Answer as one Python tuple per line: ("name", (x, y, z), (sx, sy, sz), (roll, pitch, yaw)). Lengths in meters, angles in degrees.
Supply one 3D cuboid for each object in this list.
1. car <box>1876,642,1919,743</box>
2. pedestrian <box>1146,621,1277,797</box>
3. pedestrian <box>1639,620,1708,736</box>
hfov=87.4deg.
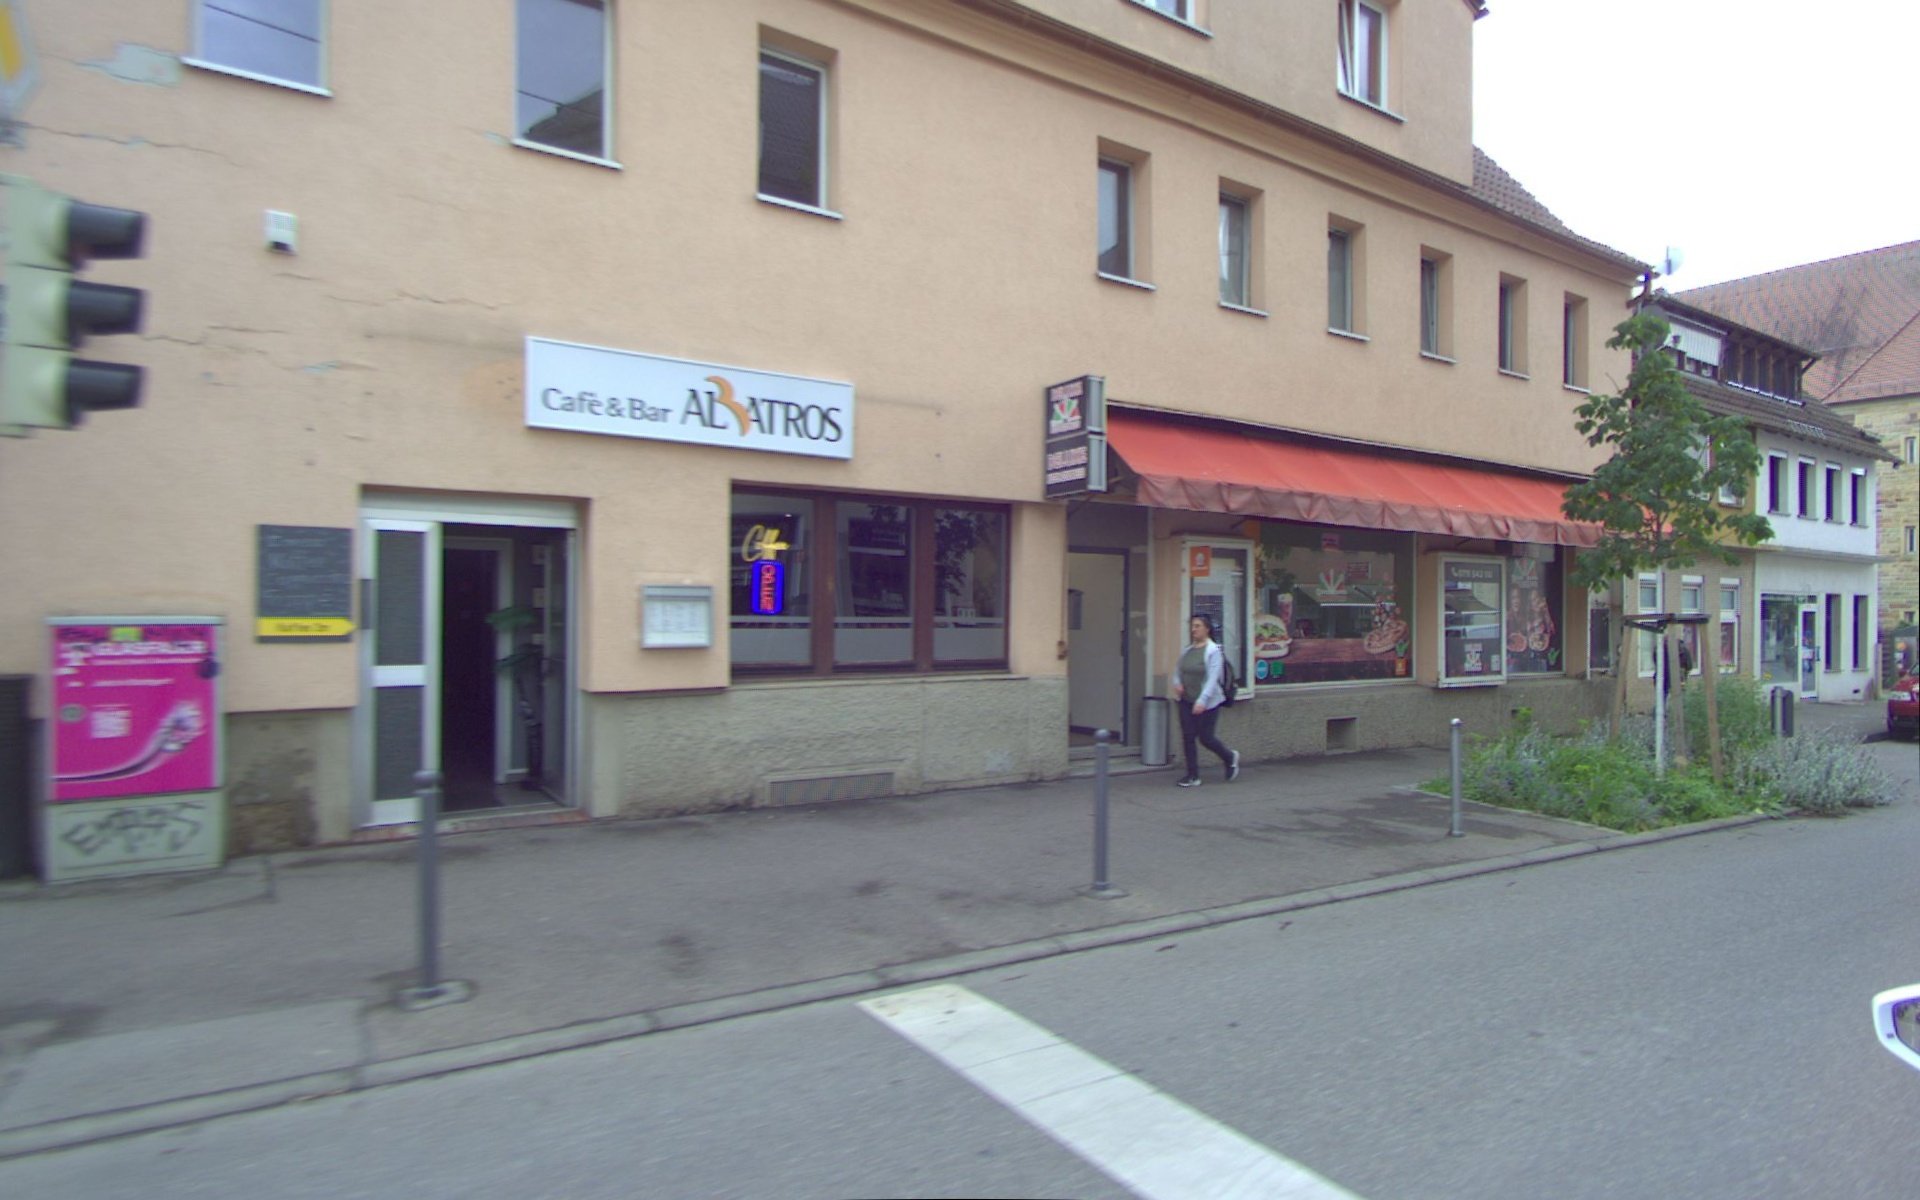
("car", (17.490, 1.509, 17.075), (4.401, 1.594, 1.694), (1, -3, -32))
("pedestrian", (2.381, 0.982, 9.537), (0.972, 1.555, 0.734), (1, 0, -32))
("pedestrian", (10.581, 1.129, 14.898), (0.753, 1.650, 0.723), (1, -1, -44))
